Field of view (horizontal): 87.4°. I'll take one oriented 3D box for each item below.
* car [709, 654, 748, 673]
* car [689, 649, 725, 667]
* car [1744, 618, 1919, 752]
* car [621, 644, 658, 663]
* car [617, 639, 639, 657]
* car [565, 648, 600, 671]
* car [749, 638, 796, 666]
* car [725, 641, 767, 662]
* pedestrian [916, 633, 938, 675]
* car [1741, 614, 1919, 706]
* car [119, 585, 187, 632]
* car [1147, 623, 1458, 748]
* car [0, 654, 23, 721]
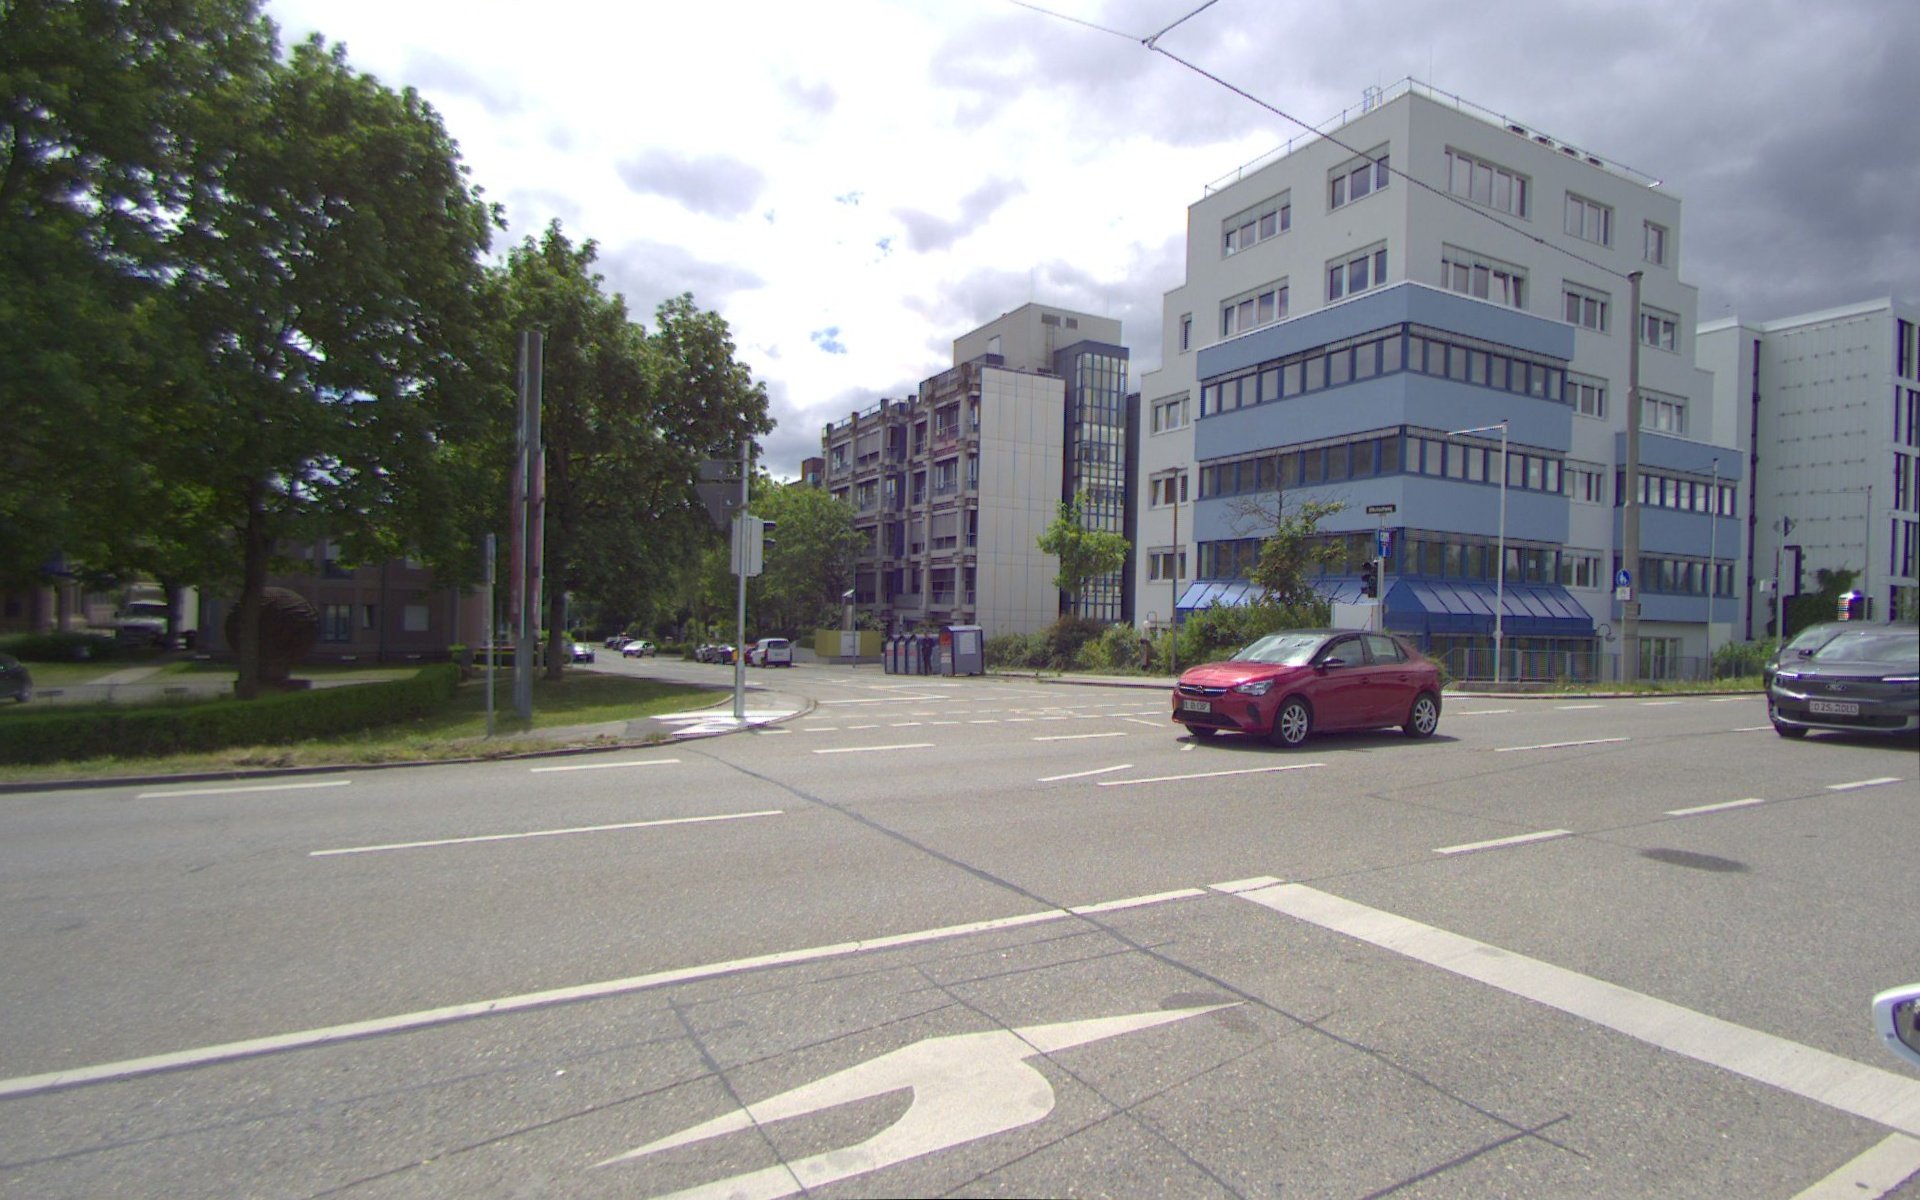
[{"bbox_3d":[-16.727,4.566,72.454,1.974,1.347,3.631,1,-4,-26],"label":"car"},{"bbox_3d":[-19.638,4.484,77.918,1.974,1.347,3.631,1,-4,-26],"label":"car"},{"bbox_3d":[13.417,1.125,14.413,4.256,1.639,1.984,2,0,-30],"label":"car"},{"bbox_3d":[-29.000,4.809,90.994,1.960,1.528,4.001,1,0,2],"label":"car"},{"bbox_3d":[-39.485,5.726,119.368,1.973,2.040,3.976,2,-3,-24],"label":"car"},{"bbox_3d":[-28.449,4.454,75.647,1.975,1.528,3.970,1,0,-28],"label":"car"},{"bbox_3d":[-11.711,3.266,62.608,1.974,1.715,3.631,1,-4,-26],"label":"car"},{"bbox_3d":[-14.434,3.485,67.702,1.974,1.347,3.631,1,-4,-26],"label":"car"},{"bbox_3d":[-1.314,2.182,40.251,0.613,1.666,0.745,1,-4,-27],"label":"pedestrian"},{"bbox_3d":[18.797,1.205,21.117,4.700,1.725,1.986,1,0,-28],"label":"car"},{"bbox_3d":[-41.098,0.399,51.237,1.976,2.272,3.969,2,0,-29],"label":"car"},{"bbox_3d":[4.581,1.056,13.328,3.953,1.434,1.772,2,-2,-30],"label":"car"},{"bbox_3d":[-20.563,1.810,20.621,1.520,1.221,3.142,2,0,-36],"label":"car"}]
